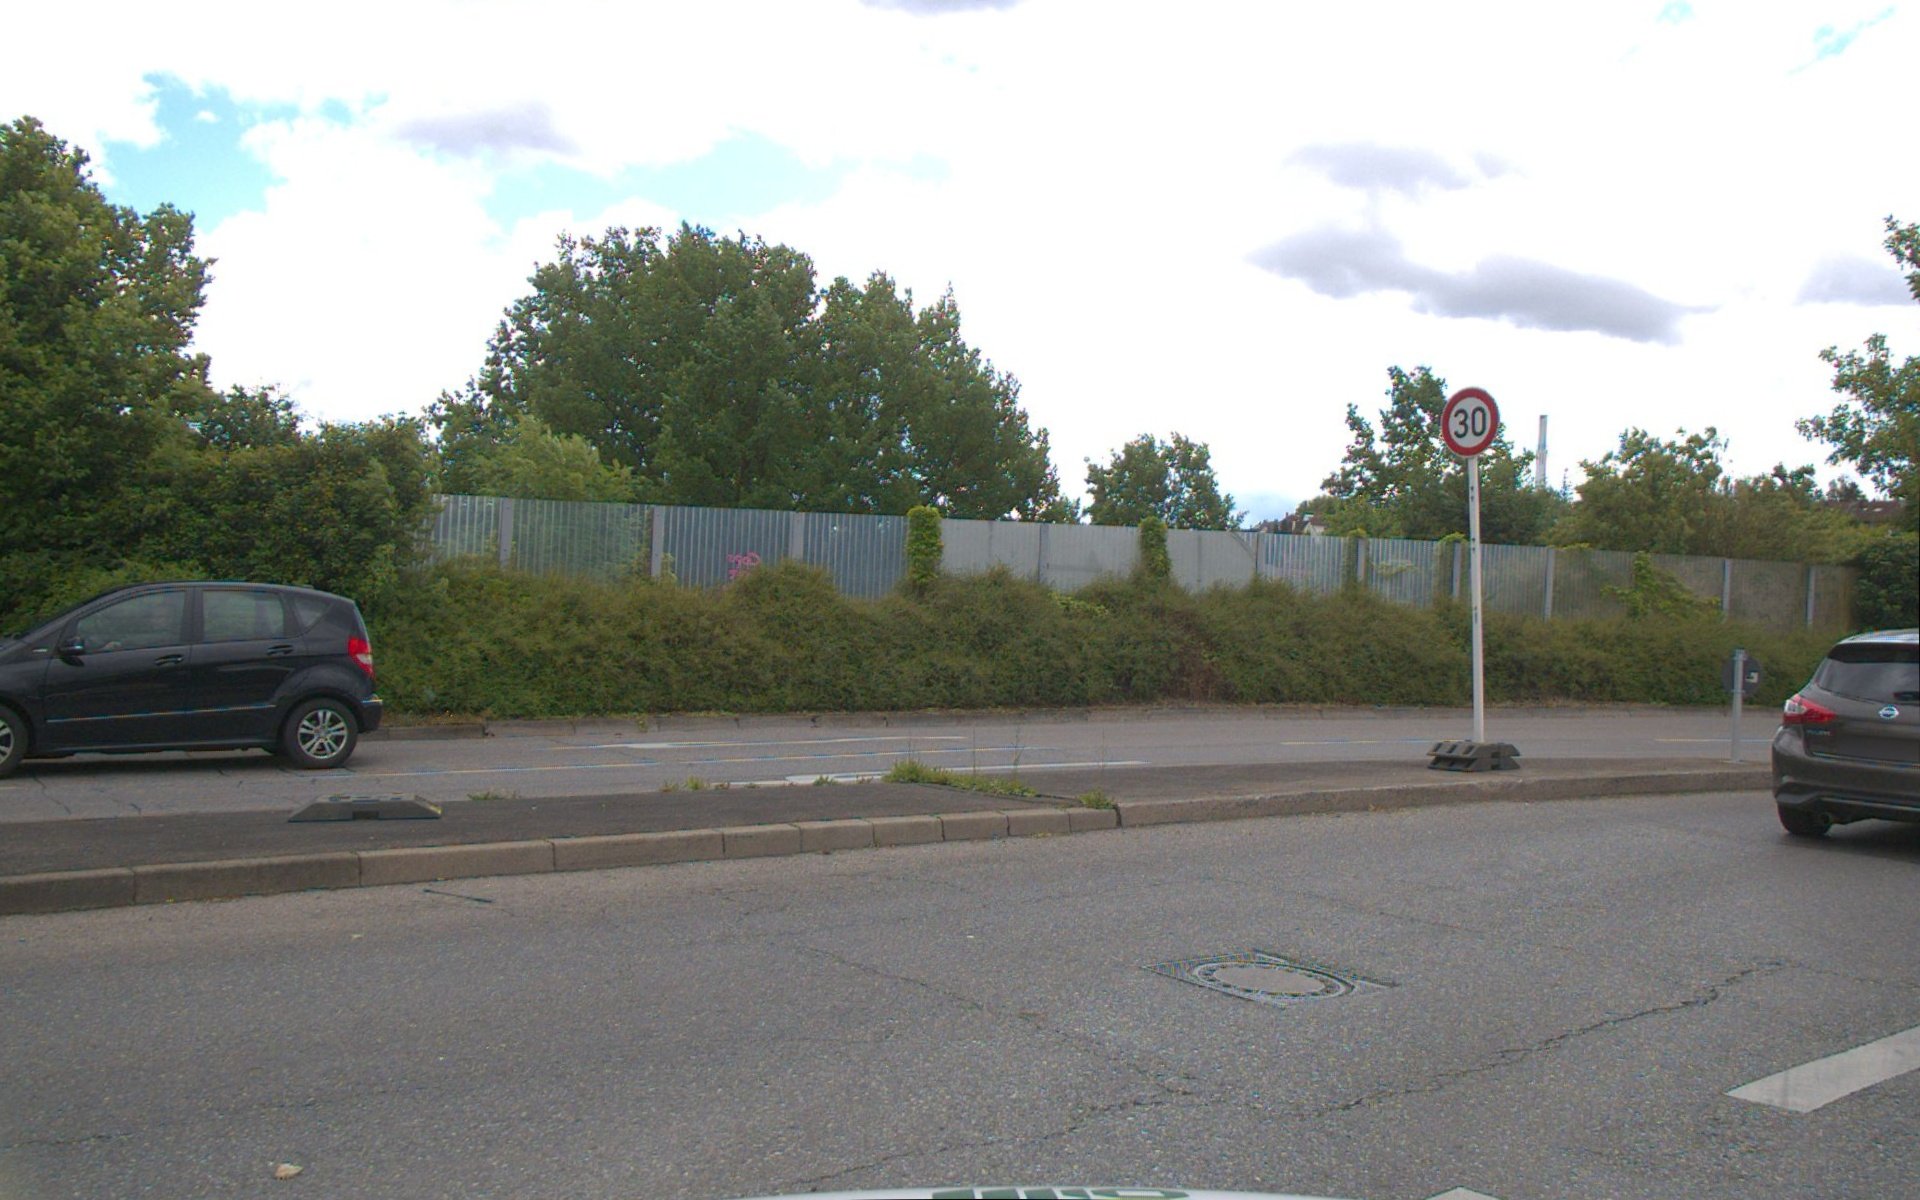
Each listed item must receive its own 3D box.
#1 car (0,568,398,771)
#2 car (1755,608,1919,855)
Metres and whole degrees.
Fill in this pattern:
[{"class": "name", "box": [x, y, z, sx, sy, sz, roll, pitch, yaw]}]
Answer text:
[{"class": "car", "box": [-6.954, 0.579, 14.241, 3.741, 1.579, 1.624, 1, -2, -33]}, {"class": "car", "box": [7.562, 0.885, 12.129, 3.966, 1.579, 1.776, 1, 0, -42]}]
